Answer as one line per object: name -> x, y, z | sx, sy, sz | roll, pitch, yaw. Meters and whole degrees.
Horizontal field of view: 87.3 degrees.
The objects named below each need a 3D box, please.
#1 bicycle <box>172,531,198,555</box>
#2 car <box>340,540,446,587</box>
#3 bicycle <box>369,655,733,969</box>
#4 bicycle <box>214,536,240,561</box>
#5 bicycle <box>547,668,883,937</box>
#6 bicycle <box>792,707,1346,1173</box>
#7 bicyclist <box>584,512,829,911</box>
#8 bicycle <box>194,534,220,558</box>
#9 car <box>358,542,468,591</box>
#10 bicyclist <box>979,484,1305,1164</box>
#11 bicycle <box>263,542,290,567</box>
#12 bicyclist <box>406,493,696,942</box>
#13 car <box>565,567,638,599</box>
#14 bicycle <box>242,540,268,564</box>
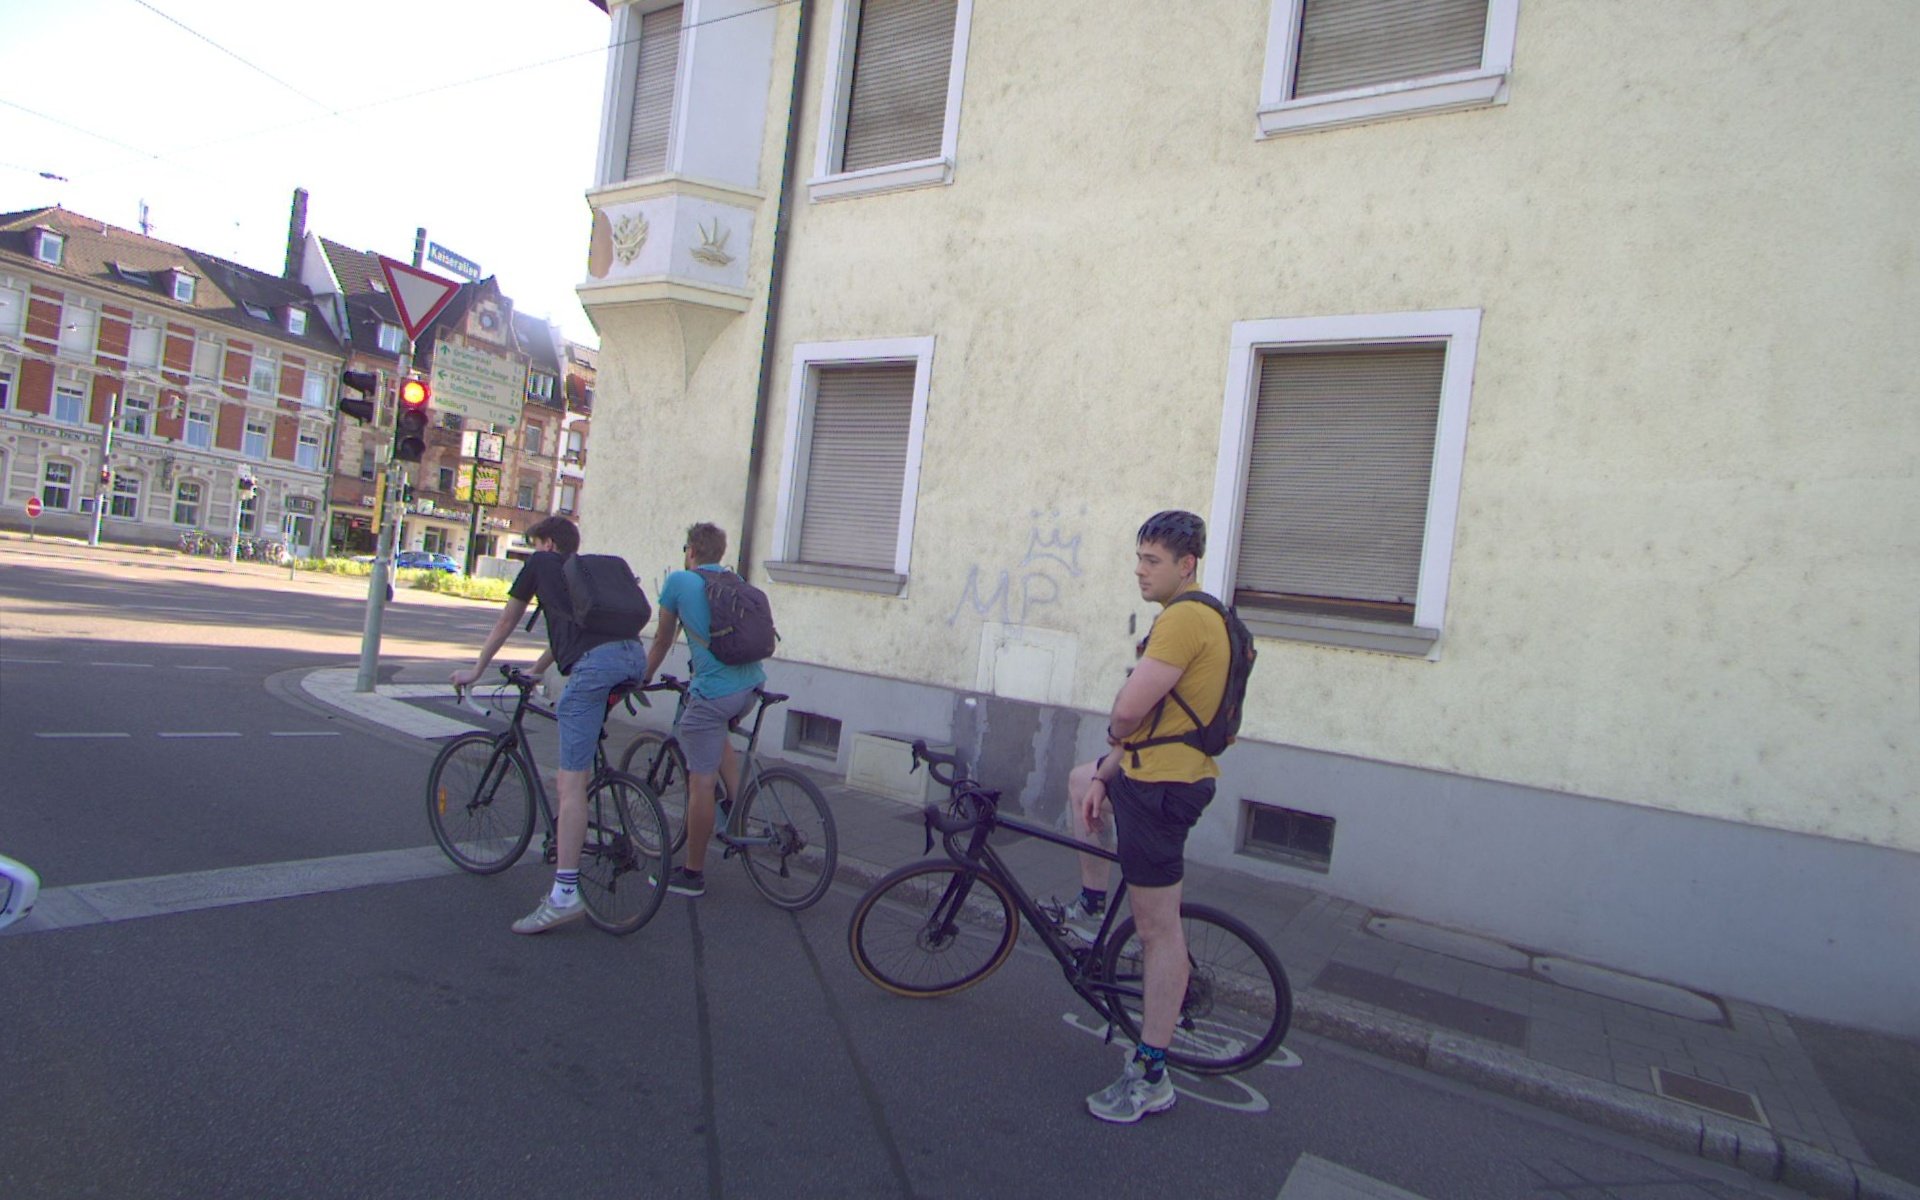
bicycle -> -35.354, -2.607, 45.871 | 0.762, 0.974, 2.186 | 8, -2, -39
car -> -27.648, -1.751, 49.170 | 1.775, 1.641, 3.994 | 6, -2, 33
bicycle -> -1.895, 0.866, 4.548 | 1.753, 1.003, 0.482 | 6, -1, 32
bicycle -> -34.255, -2.416, 47.018 | 0.762, 0.995, 2.186 | 8, -2, -39
bicycle -> -1.310, 0.970, 5.215 | 1.753, 0.995, 0.504 | 6, -1, 32
bicycle -> 0.403, 1.091, 3.663 | 1.709, 1.119, 0.783 | 7, -1, 18
bicyclist -> -1.328, 0.533, 5.261 | 0.960, 1.868, 0.504 | 6, -1, 32
bicycle -> -34.752, -2.506, 46.396 | 0.762, 0.979, 2.186 | 8, -2, -39
car -> -25.431, -1.547, 46.885 | 1.775, 1.641, 3.994 | 6, -2, 33
bicyclist -> 0.666, 0.685, 3.513 | 0.763, 1.990, 0.783 | 7, 0, 18
bicycle -> -32.928, -2.196, 48.462 | 0.789, 1.027, 2.186 | 8, -2, -39
bicyclist -> -1.847, 0.476, 4.551 | 0.920, 1.787, 0.590 | 6, -1, 32
car -> -23.156, -1.092, 65.114 | 1.842, 1.454, 3.985 | 6, -2, 35
bicycle -> -33.617, -2.306, 47.978 | 0.762, 1.019, 2.196 | 8, -2, -39
